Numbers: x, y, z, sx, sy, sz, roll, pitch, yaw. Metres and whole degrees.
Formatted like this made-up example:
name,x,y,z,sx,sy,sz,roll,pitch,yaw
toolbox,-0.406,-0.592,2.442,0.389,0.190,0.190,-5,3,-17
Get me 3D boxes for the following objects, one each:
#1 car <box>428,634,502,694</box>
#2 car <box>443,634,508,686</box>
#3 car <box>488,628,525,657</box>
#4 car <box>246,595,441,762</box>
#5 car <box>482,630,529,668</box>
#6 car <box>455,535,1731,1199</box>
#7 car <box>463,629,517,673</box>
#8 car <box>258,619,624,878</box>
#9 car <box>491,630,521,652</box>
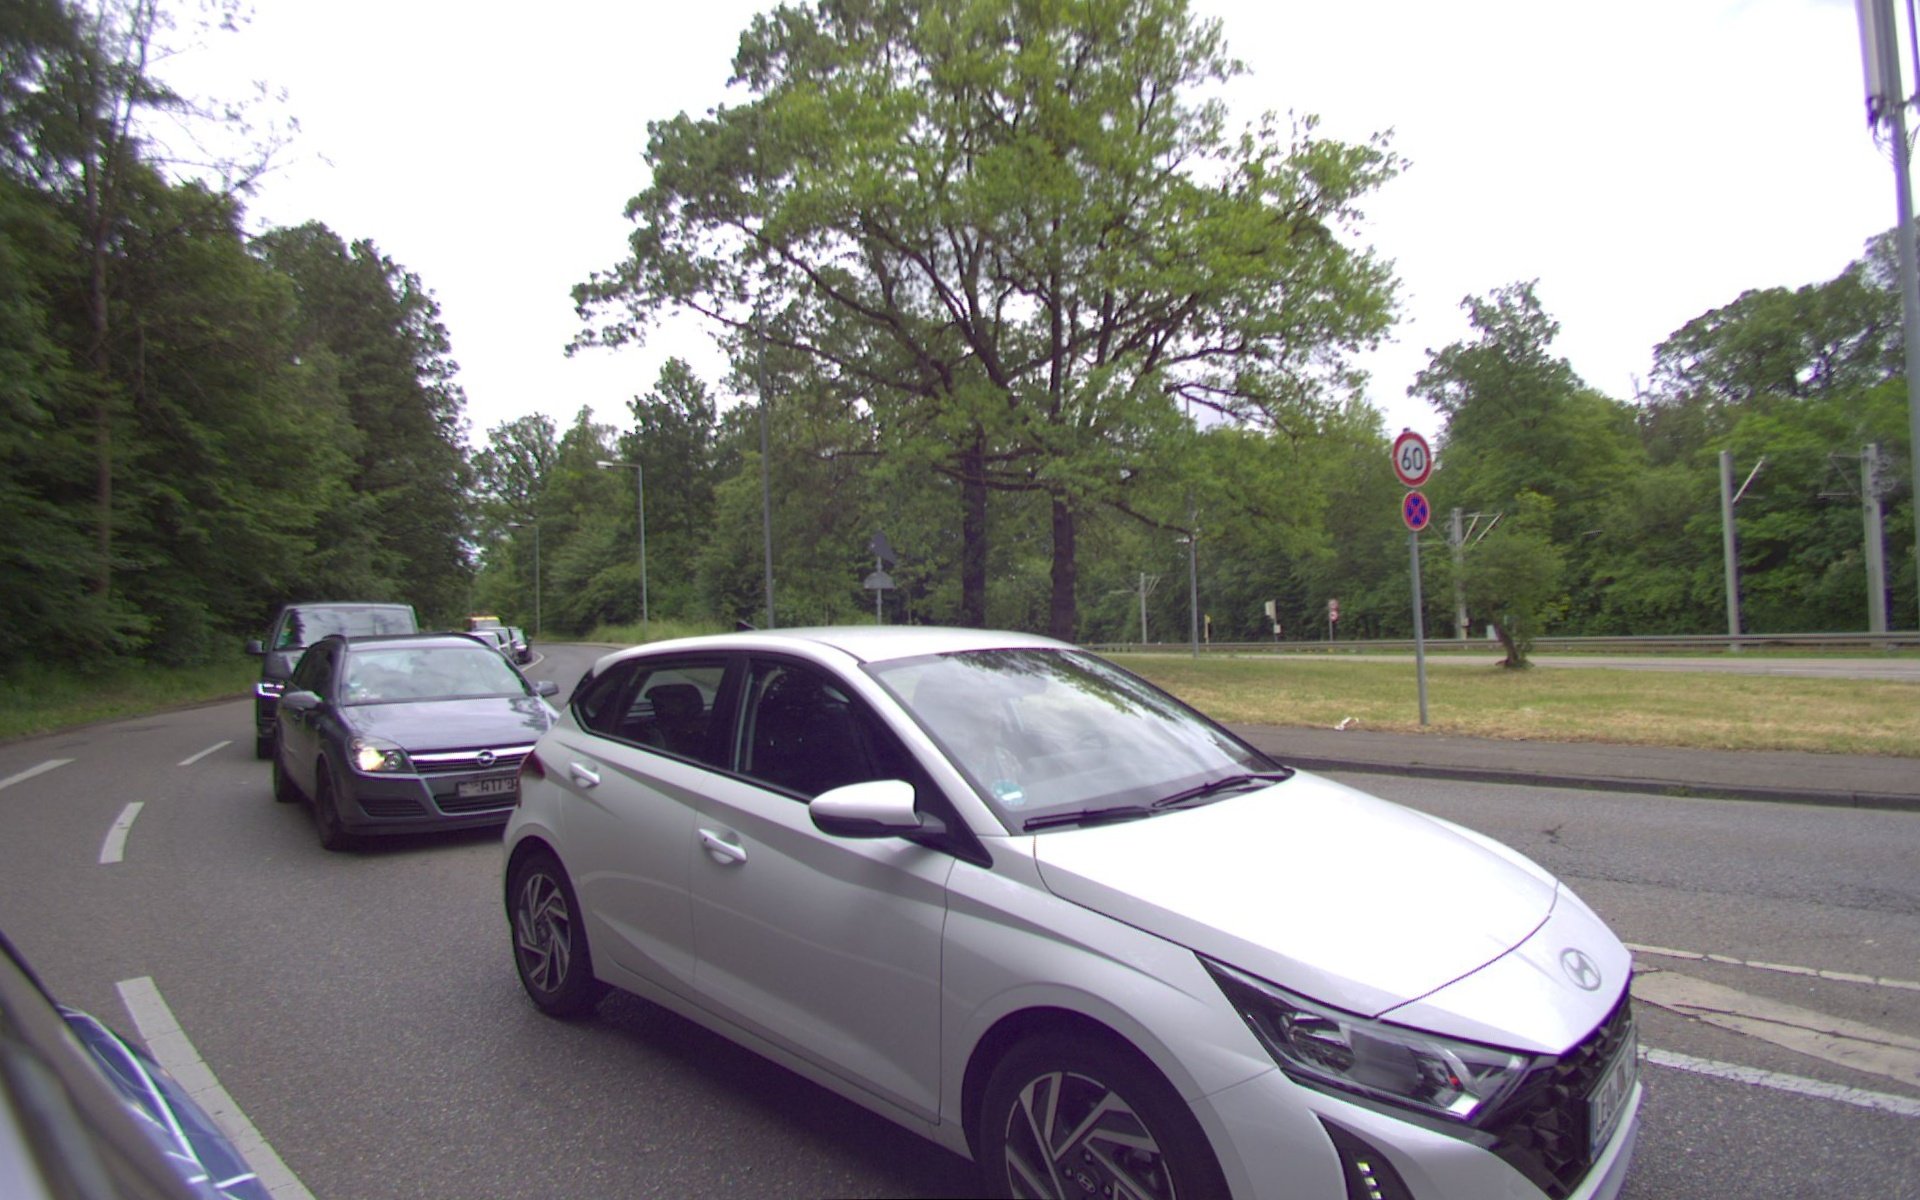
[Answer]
name,x,y,z,sx,sy,sz,roll,pitch,yaw
car,-13.810,1.738,28.361,1.748,1.511,3.885,0,-2,-25
car,-15.389,1.864,32.224,1.748,1.511,3.885,0,-2,-25
car,-25.279,2.378,56.501,1.749,1.511,3.885,-1,-2,-22
car,-8.268,0.971,13.970,1.957,1.887,4.546,0,-2,-27
car,-19.384,2.074,43.130,1.748,1.511,3.885,0,-2,-25
car,-0.067,0.729,3.419,4.073,1.490,1.631,-3,-2,43
car,-17.587,1.871,37.909,1.748,1.511,3.885,0,-2,-25
car,-4.434,0.957,8.221,1.775,1.490,4.478,0,-2,-39
car,-31.826,2.869,70.977,1.749,1.511,3.885,-1,-2,-22
